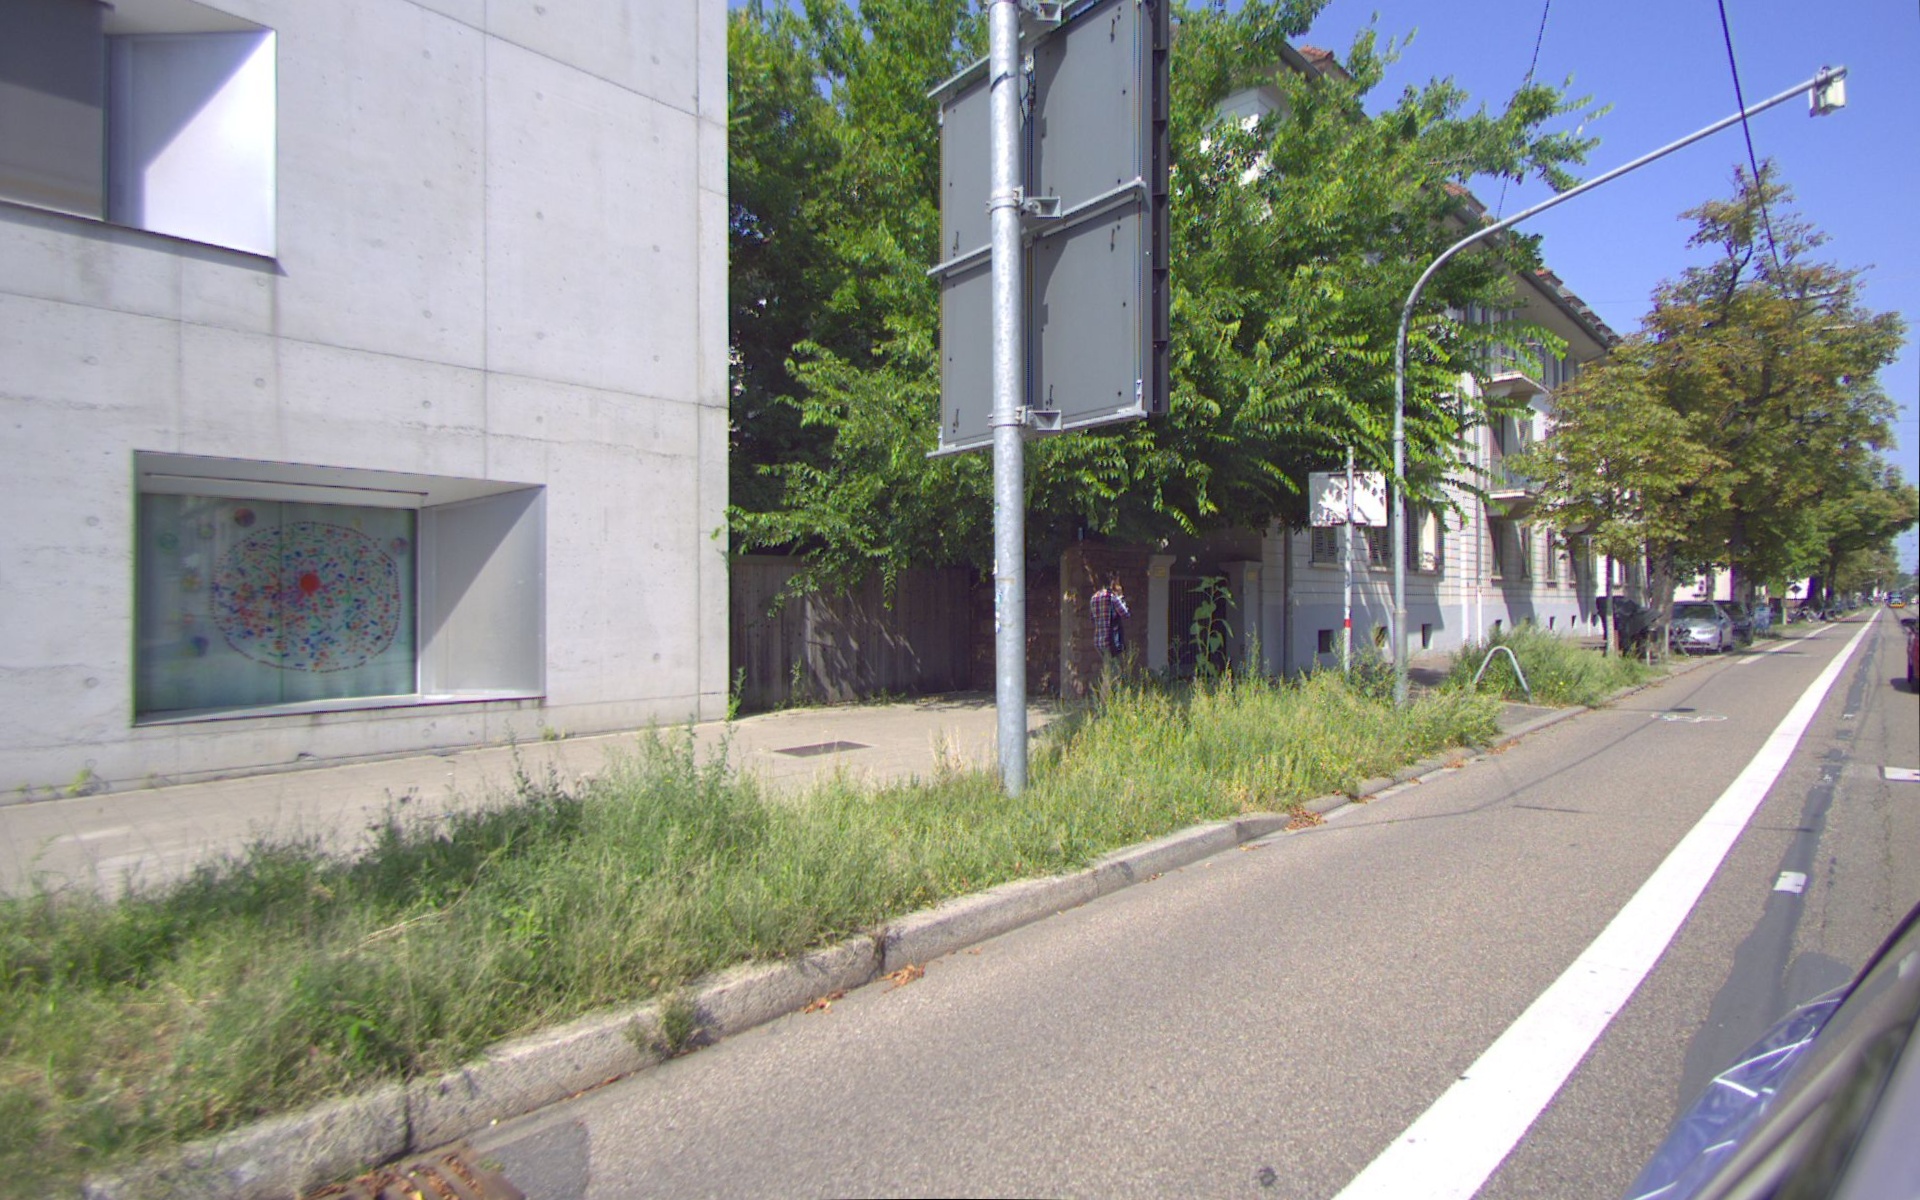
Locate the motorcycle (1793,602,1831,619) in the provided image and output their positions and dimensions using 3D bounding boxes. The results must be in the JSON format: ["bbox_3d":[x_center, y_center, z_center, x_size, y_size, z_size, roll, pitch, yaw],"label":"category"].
[{"bbox_3d":[59.637,0.732,70.846,1.995,1.027,0.784,4,2,44],"label":"motorcycle"}]

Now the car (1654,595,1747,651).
[{"bbox_3d":[21.302,0.594,29.040,1.780,1.469,4.681,1,1,41],"label":"car"}]

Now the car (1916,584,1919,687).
[{"bbox_3d":[16.710,0.527,16.309,1.811,1.571,3.956,-1,-1,44],"label":"car"}]

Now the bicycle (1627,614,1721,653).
[{"bbox_3d":[18.754,0.874,26.615,0.709,0.964,1.924,0,0,-43],"label":"bicycle"}]

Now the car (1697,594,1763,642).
[{"bbox_3d":[26.424,0.556,34.674,1.660,1.526,4.372,0,1,39],"label":"car"}]

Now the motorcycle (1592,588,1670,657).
[{"bbox_3d":[16.101,0.505,24.252,2.368,1.572,0.888,-1,0,-39],"label":"motorcycle"}]

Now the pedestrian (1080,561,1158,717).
[{"bbox_3d":[1.852,0.436,11.802,0.570,1.754,0.692,0,-1,-44],"label":"pedestrian"}]

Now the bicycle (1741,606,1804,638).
[{"bbox_3d":[29.995,0.790,37.375,1.754,1.137,0.645,-1,-1,44],"label":"bicycle"}]

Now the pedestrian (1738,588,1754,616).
[{"bbox_3d":[51.234,0.123,65.980,0.747,1.808,0.622,-1,-1,44],"label":"pedestrian"}]
